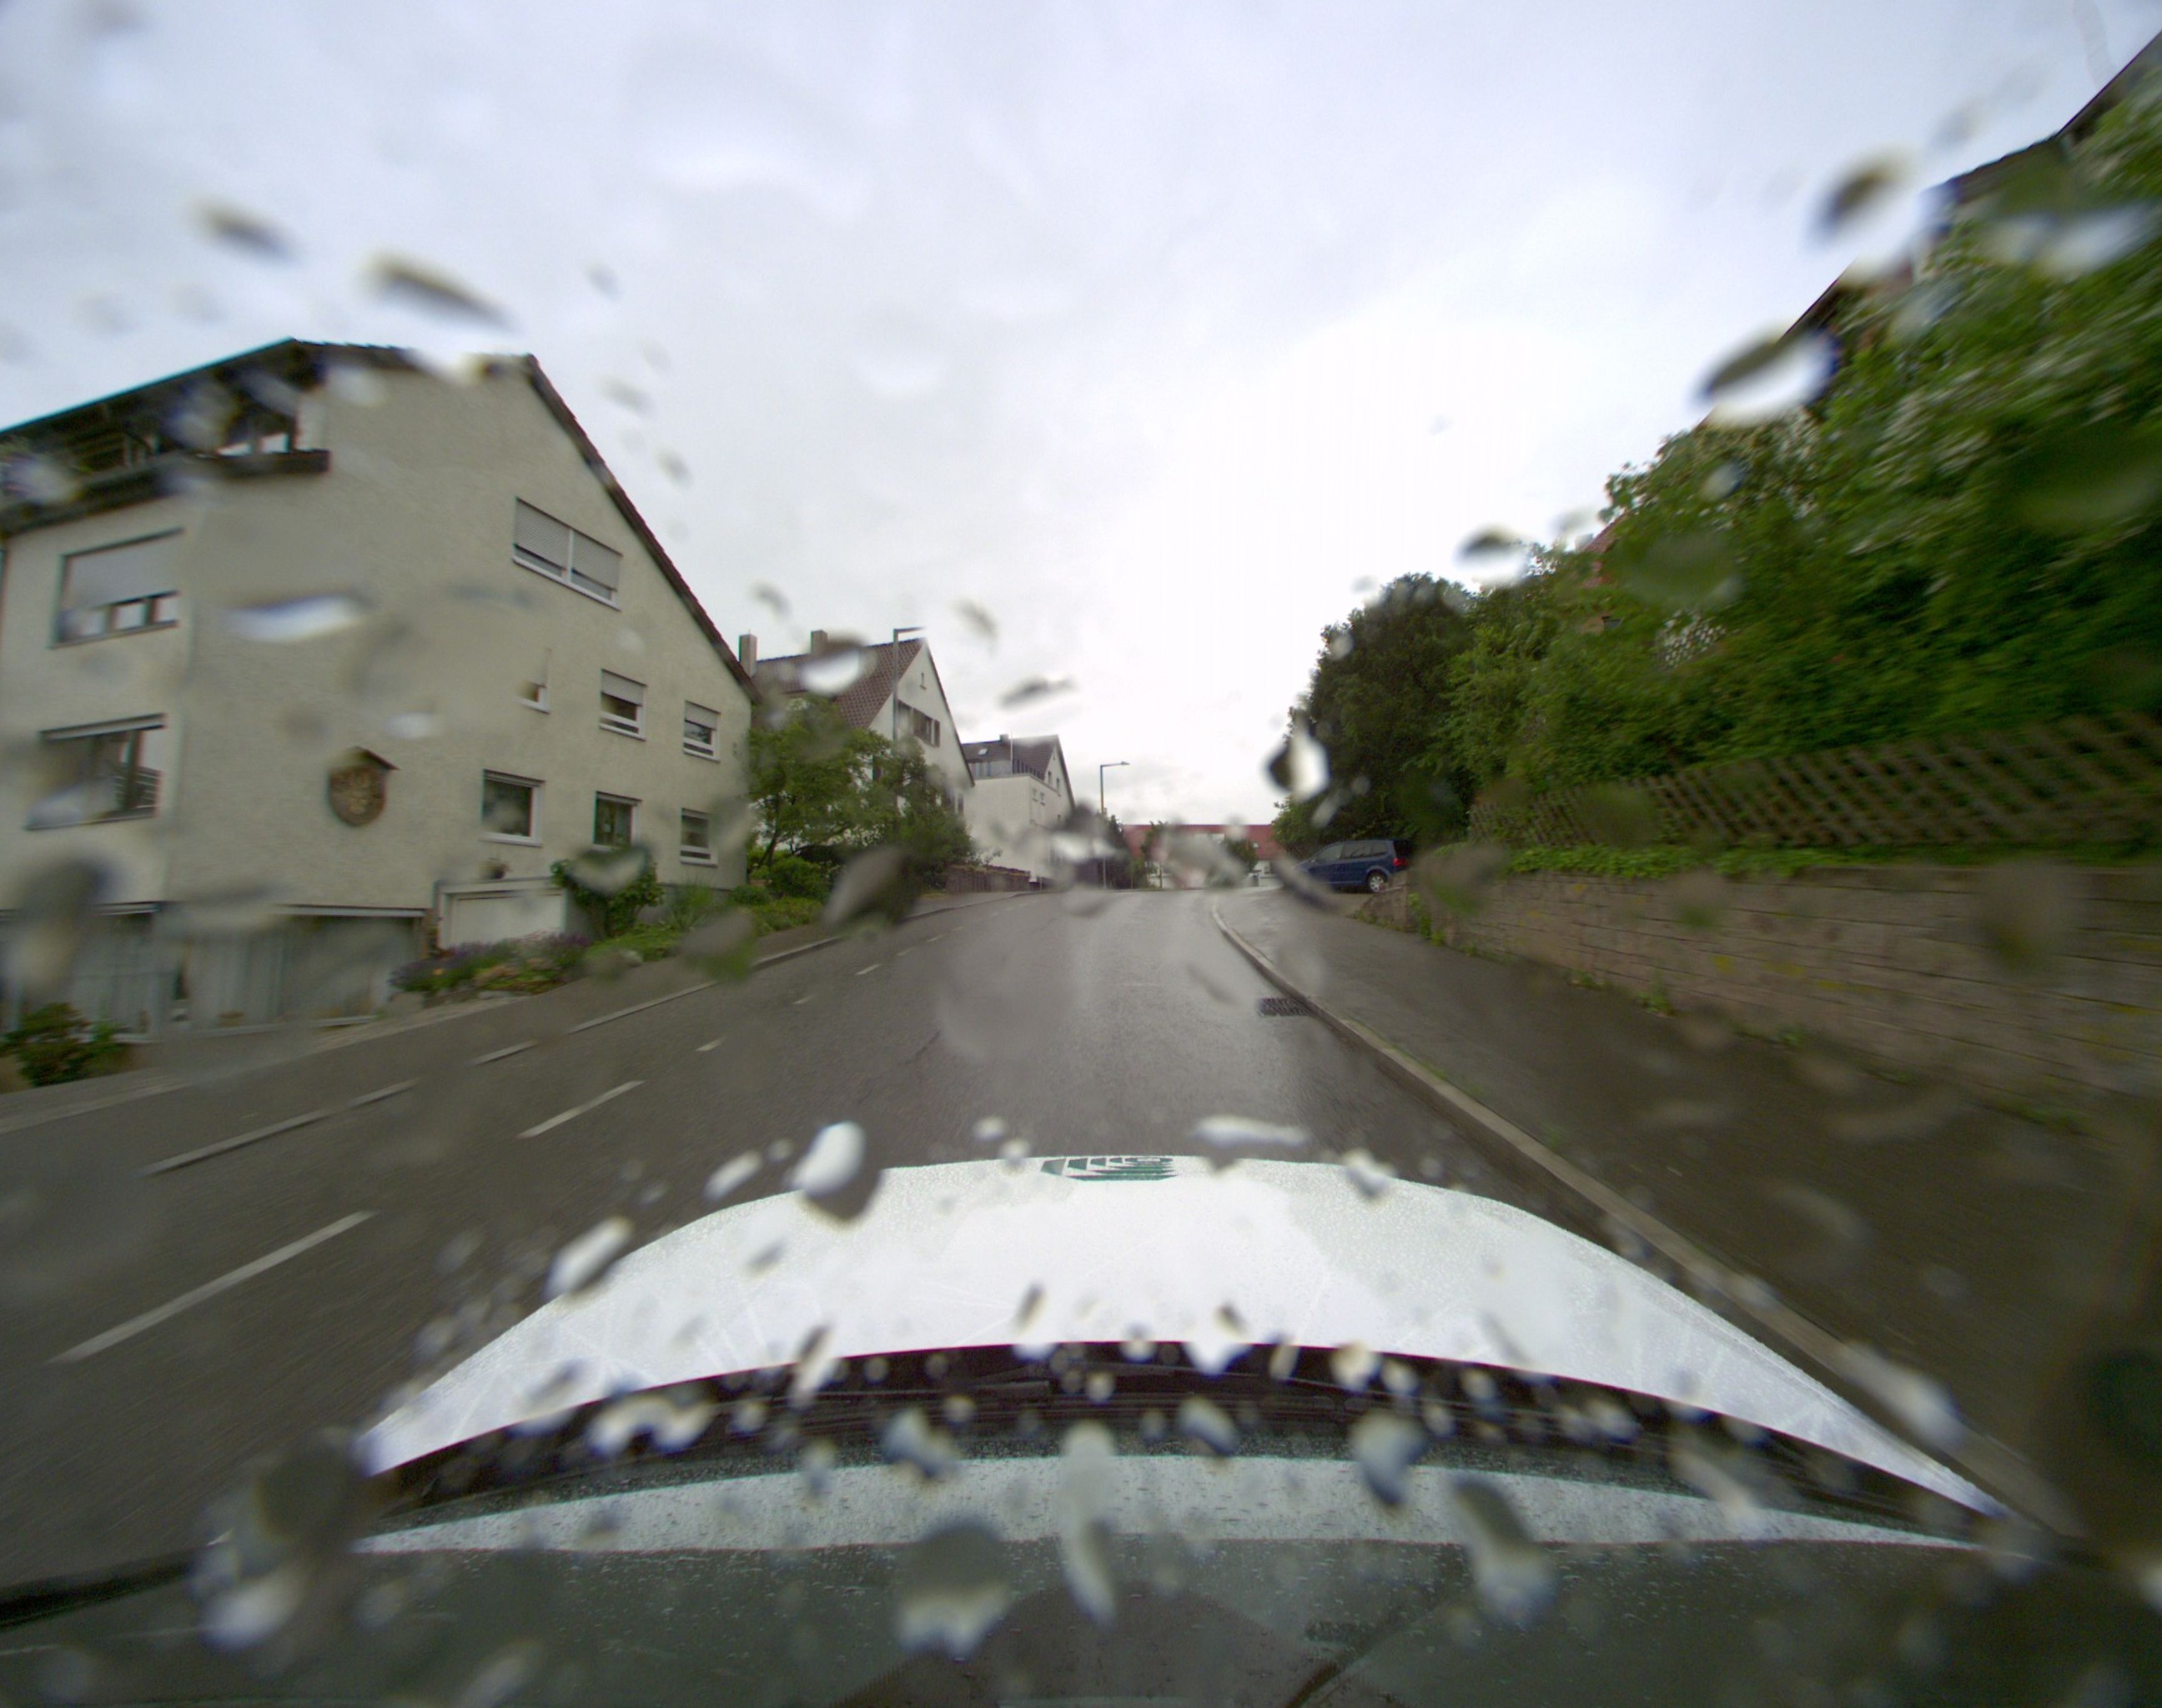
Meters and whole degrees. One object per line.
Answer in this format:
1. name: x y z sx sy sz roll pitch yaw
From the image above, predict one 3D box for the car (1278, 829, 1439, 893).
1. car: 8.500 0.264 25.243 1.866 1.606 4.290 -6 0 -37
